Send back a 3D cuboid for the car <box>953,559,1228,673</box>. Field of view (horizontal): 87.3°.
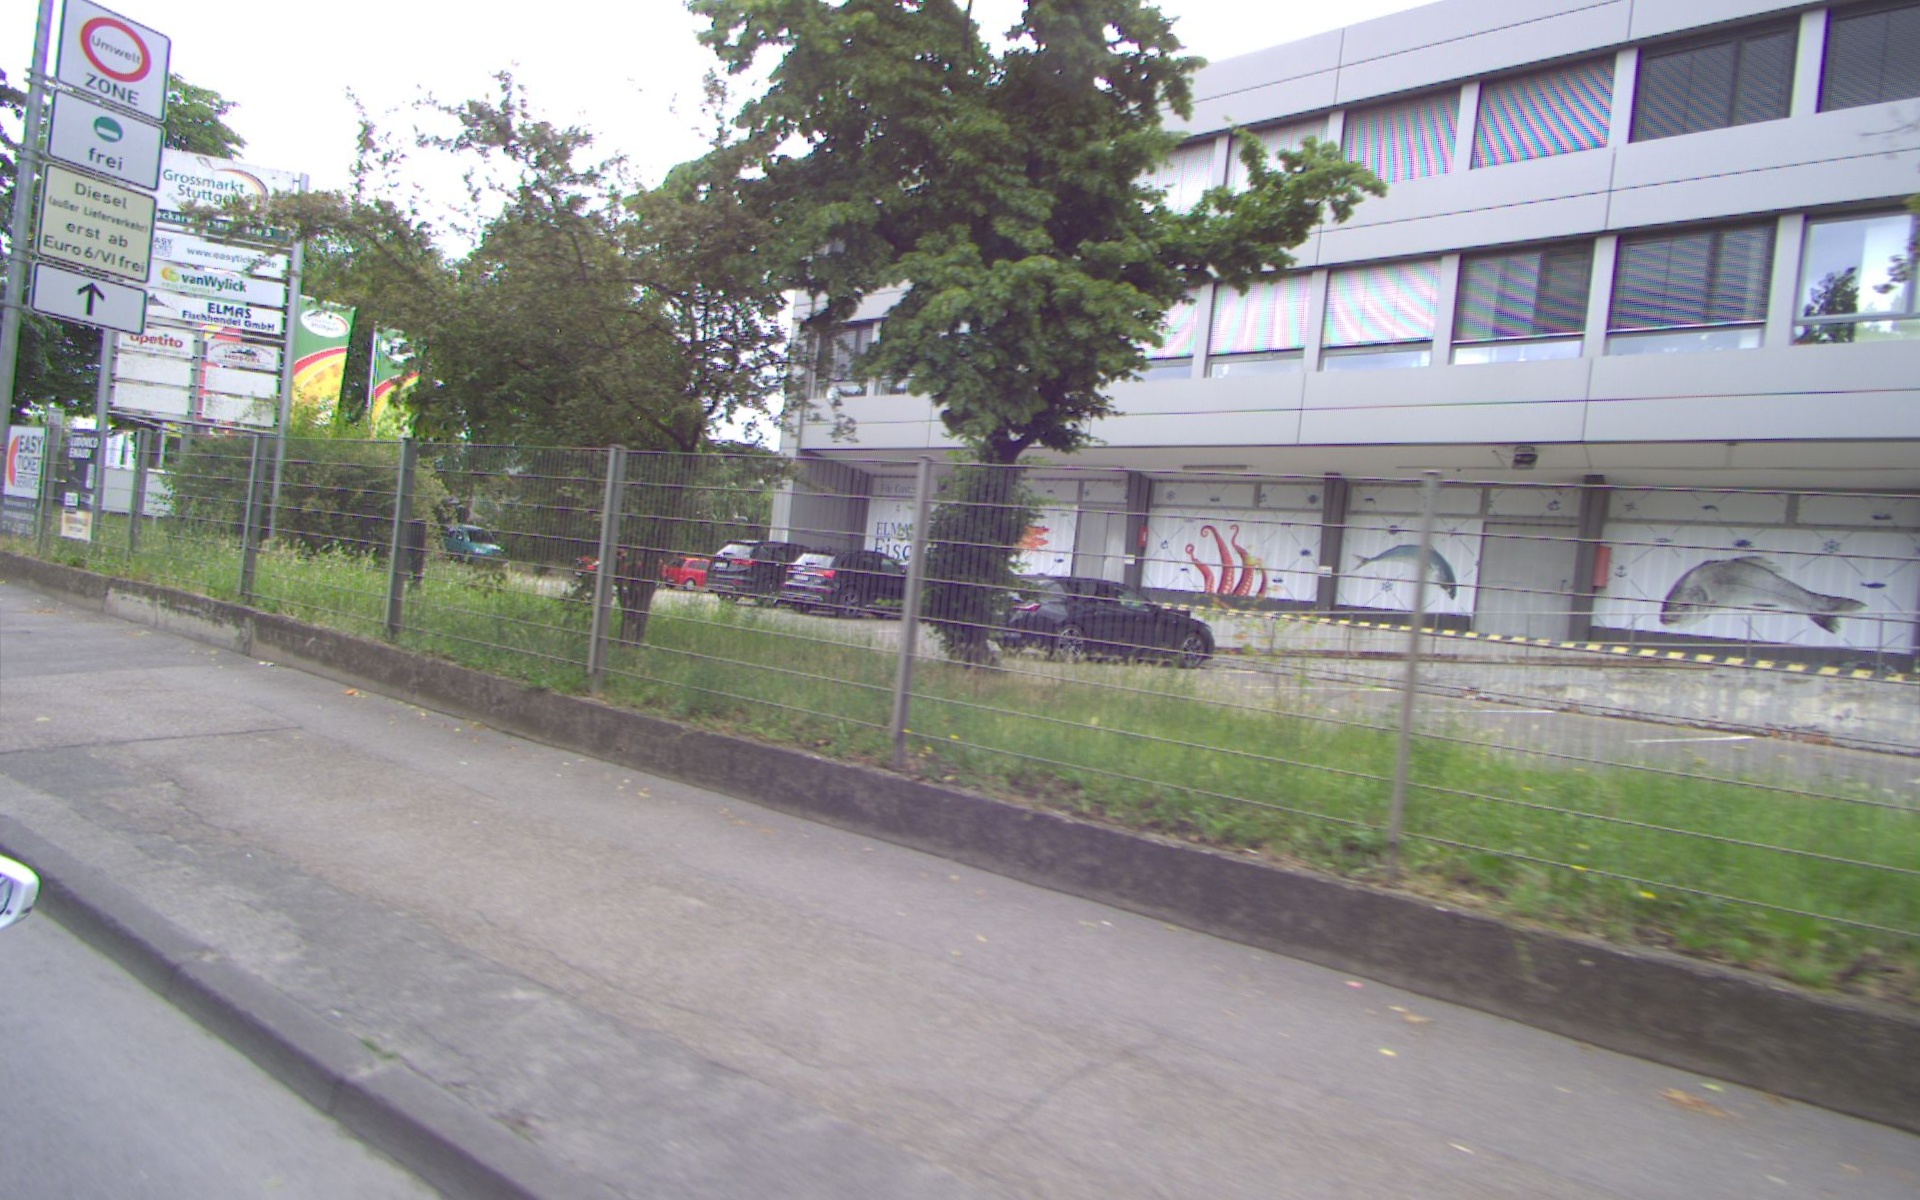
[{"bbox_3d":[2.485,0.324,18.754,4.810,1.554,2.006,7,1,-32],"label":"car"}]

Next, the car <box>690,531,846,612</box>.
[{"bbox_3d":[-5.009,-0.713,26.638,1.829,1.695,3.700,7,1,35],"label":"car"}]

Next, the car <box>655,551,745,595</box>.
[{"bbox_3d":[-12.825,-1.311,49.826,1.801,1.705,3.946,7,1,35],"label":"car"}]

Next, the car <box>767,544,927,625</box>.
[{"bbox_3d":[-2.726,-0.351,24.931,1.801,1.554,3.700,7,1,35],"label":"car"}]

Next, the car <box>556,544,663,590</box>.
[{"bbox_3d":[-15.820,-1.475,45.584,1.801,1.563,4.229,7,1,35],"label":"car"}]
